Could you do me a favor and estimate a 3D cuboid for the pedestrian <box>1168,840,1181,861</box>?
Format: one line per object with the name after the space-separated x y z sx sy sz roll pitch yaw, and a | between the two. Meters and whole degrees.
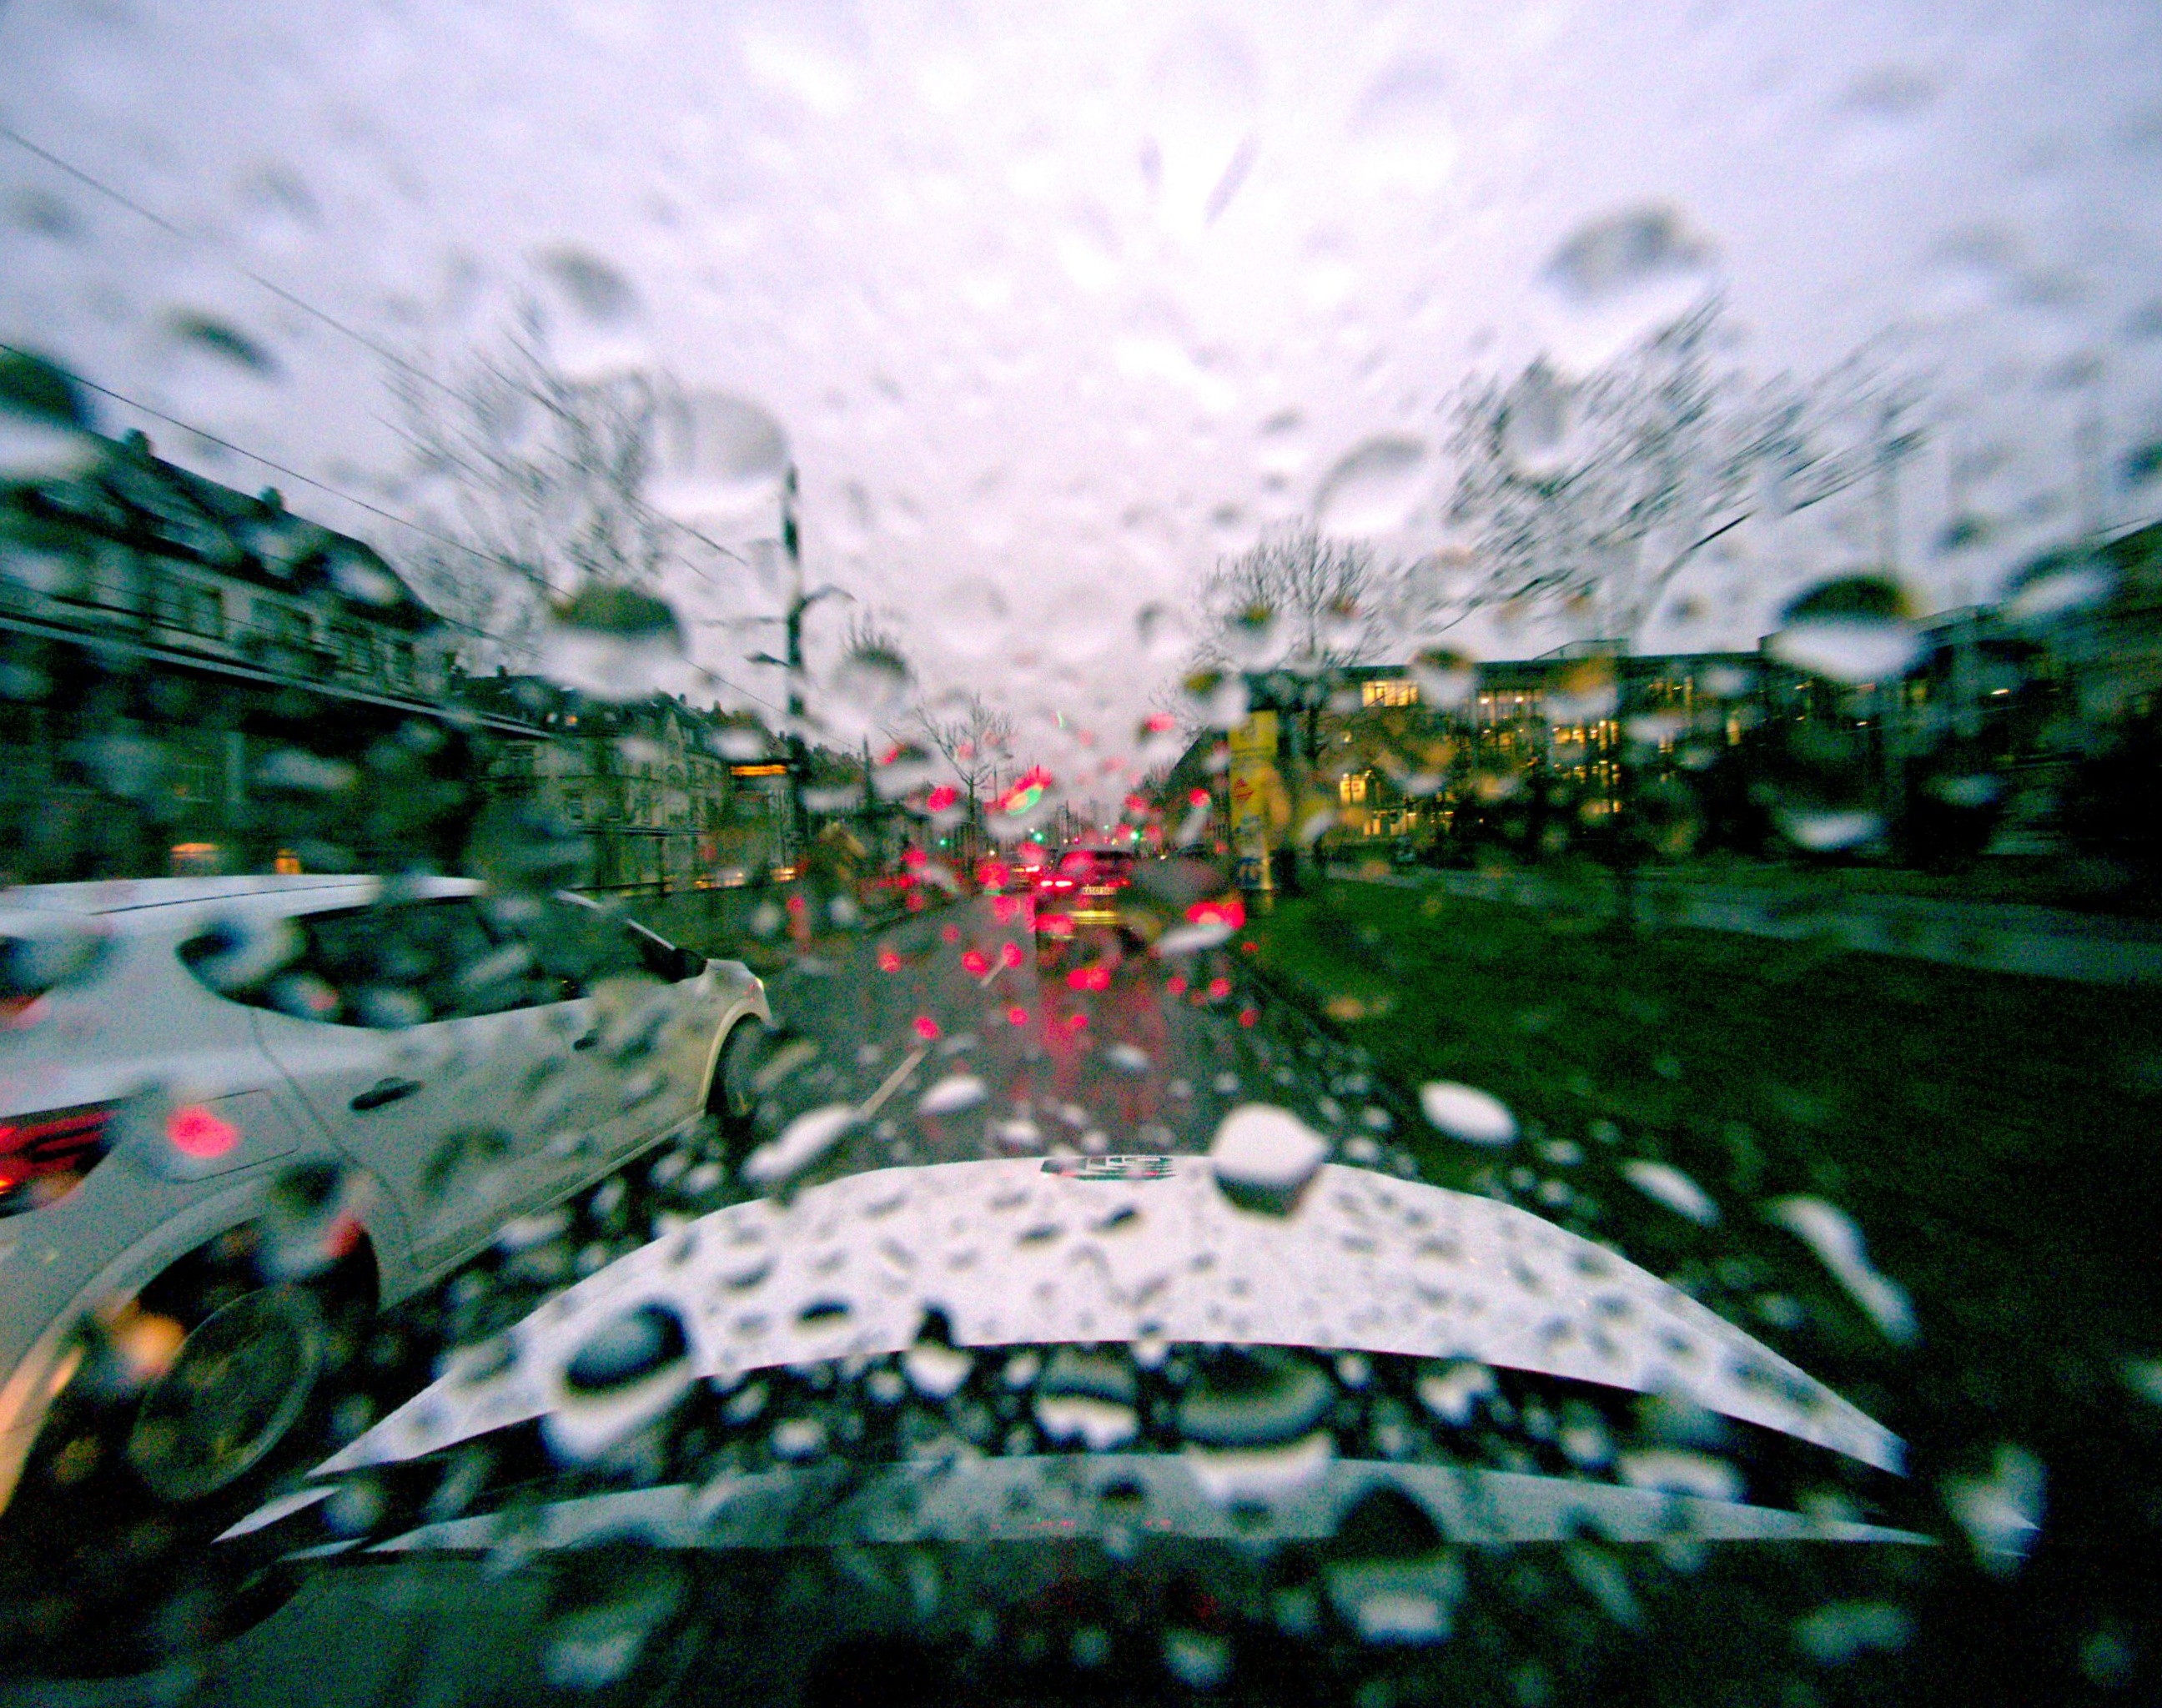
7.477 -0.281 65.090 0.893 1.596 0.505 -3 0 44 | pedestrian

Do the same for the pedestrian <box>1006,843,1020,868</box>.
-4.267 0.099 51.123 0.696 1.552 0.669 -3 0 1 | pedestrian

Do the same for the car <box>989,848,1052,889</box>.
-2.267 0.504 31.466 1.987 1.398 4.001 -3 0 1 | car

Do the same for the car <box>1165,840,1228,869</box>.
7.531 0.008 53.393 3.844 1.560 1.767 -5 0 3 | car

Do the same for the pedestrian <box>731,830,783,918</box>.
-6.154 0.371 15.502 0.710 1.606 0.745 -1 0 -6 | pedestrian

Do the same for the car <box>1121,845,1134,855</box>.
8.179 -0.700 143.417 1.986 1.598 4.002 -3 0 1 | car

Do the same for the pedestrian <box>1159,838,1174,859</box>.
6.577 -0.416 62.716 0.893 1.596 0.505 -3 0 44 | pedestrian

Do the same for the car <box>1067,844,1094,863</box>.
-0.028 -0.071 72.567 1.985 1.618 4.005 -3 0 4 | car

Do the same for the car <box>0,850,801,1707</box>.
-2.680 0.790 3.182 1.620 1.487 4.002 -3 1 1 | car

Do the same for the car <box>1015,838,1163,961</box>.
0.151 0.611 13.285 1.984 1.616 4.001 -3 0 1 | car

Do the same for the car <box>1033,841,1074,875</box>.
-1.499 0.203 45.868 1.986 1.765 4.002 -3 0 2 | car

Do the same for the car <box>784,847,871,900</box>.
-9.906 0.707 32.154 1.986 1.823 4.002 -3 0 1 | car
